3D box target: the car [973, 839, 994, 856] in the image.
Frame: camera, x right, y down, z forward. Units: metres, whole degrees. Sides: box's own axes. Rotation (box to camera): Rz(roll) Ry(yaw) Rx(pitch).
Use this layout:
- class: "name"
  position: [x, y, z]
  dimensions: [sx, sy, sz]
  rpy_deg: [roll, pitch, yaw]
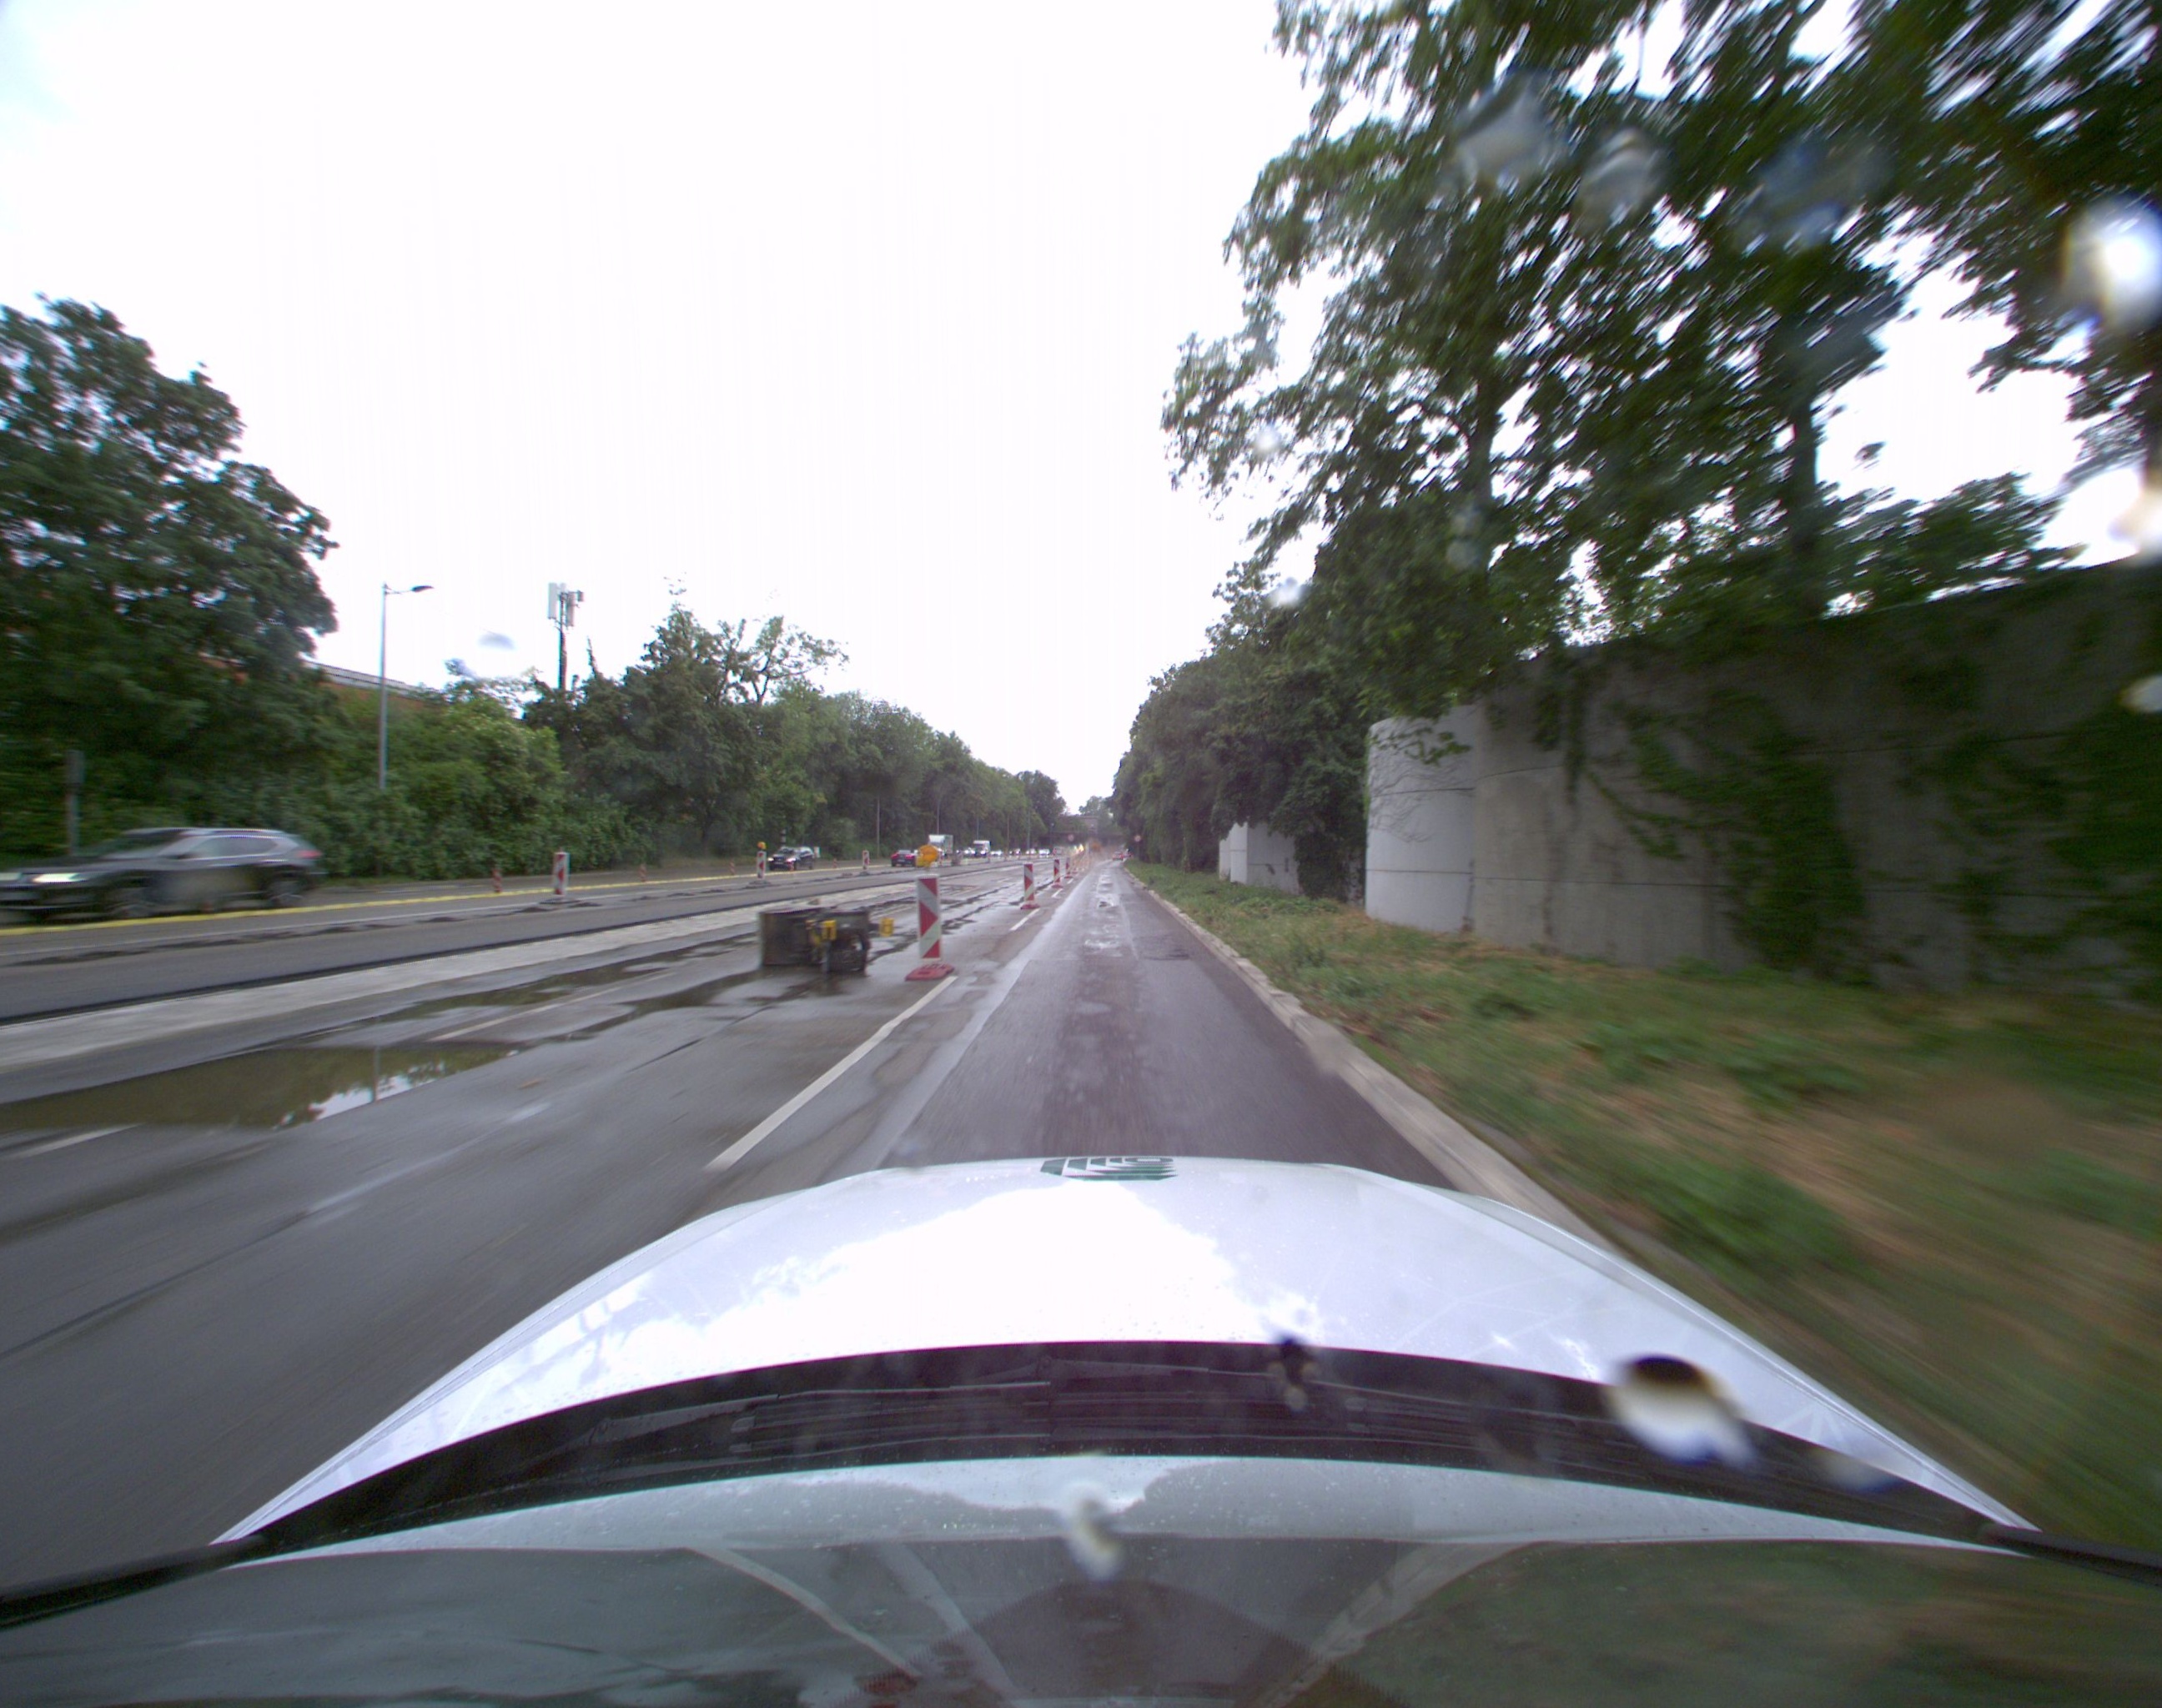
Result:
- class: "car"
  position: [-15.418, -1.013, 129.099]
  dimensions: [2.091, 2.579, 6.859]
  rpy_deg: [1, 0, 3]

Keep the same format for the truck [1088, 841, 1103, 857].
- class: "truck"
  position: [3.469, -1.186, 188.869]
  dimensions: [3.247, 3.497, 13.877]
  rpy_deg: [1, 0, 2]

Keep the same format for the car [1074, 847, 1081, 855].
- class: "car"
  position: [-0.973, -0.735, 211.342]
  dimensions: [1.663, 1.808, 4.324]
  rpy_deg: [1, 2, 3]

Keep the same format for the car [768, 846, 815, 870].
- class: "car"
  position: [-17.118, 0.209, 48.337]
  dimensions: [1.443, 1.332, 3.860]
  rpy_deg: [0, 0, 0]

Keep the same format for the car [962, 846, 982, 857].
- class: "car"
  position: [-15.152, -0.351, 113.332]
  dimensions: [1.951, 1.531, 4.440]
  rpy_deg: [1, 0, 3]

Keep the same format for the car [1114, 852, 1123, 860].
- class: "car"
  position: [6.686, 0.318, 145.334]
  dimensions: [1.691, 1.336, 3.493]
  rpy_deg: [-2, 0, 2]

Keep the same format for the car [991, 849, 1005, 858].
- class: "car"
  position: [-14.597, -0.049, 143.519]
  dimensions: [1.663, 1.485, 4.324]
  rpy_deg: [1, 0, 3]

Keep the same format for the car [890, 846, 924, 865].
- class: "car"
  position: [-13.268, 0.110, 62.439]
  dimensions: [1.601, 1.404, 4.043]
  rpy_deg: [1, 0, 2]

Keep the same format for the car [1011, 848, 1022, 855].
- class: "car"
  position: [-13.000, -0.507, 165.404]
  dimensions: [1.663, 1.485, 4.324]
  rpy_deg: [1, 0, 3]

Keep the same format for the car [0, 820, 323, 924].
- class: "car"
  position: [-17.659, 0.293, 15.738]
  dimensions: [1.728, 1.722, 4.495]
  rpy_deg: [0, 0, 1]

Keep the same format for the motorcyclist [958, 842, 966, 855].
- class: "motorcyclist"
  position: [-14.456, -0.628, 98.776]
  dimensions: [0.825, 1.564, 0.927]
  rpy_deg: [1, 0, 1]

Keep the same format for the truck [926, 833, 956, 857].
- class: "truck"
  position: [-17.587, -1.125, 102.883]
  dimensions: [2.236, 2.940, 6.940]
  rpy_deg: [1, 0, 3]

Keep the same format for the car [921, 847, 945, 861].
- class: "car"
  position: [-15.439, -0.062, 85.138]
  dimensions: [1.664, 1.415, 4.321]
  rpy_deg: [1, 0, 1]

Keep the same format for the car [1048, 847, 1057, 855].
- class: "car"
  position: [-6.650, -0.610, 187.935]
  dimensions: [1.663, 1.808, 4.324]
  rpy_deg: [1, 0, 3]
